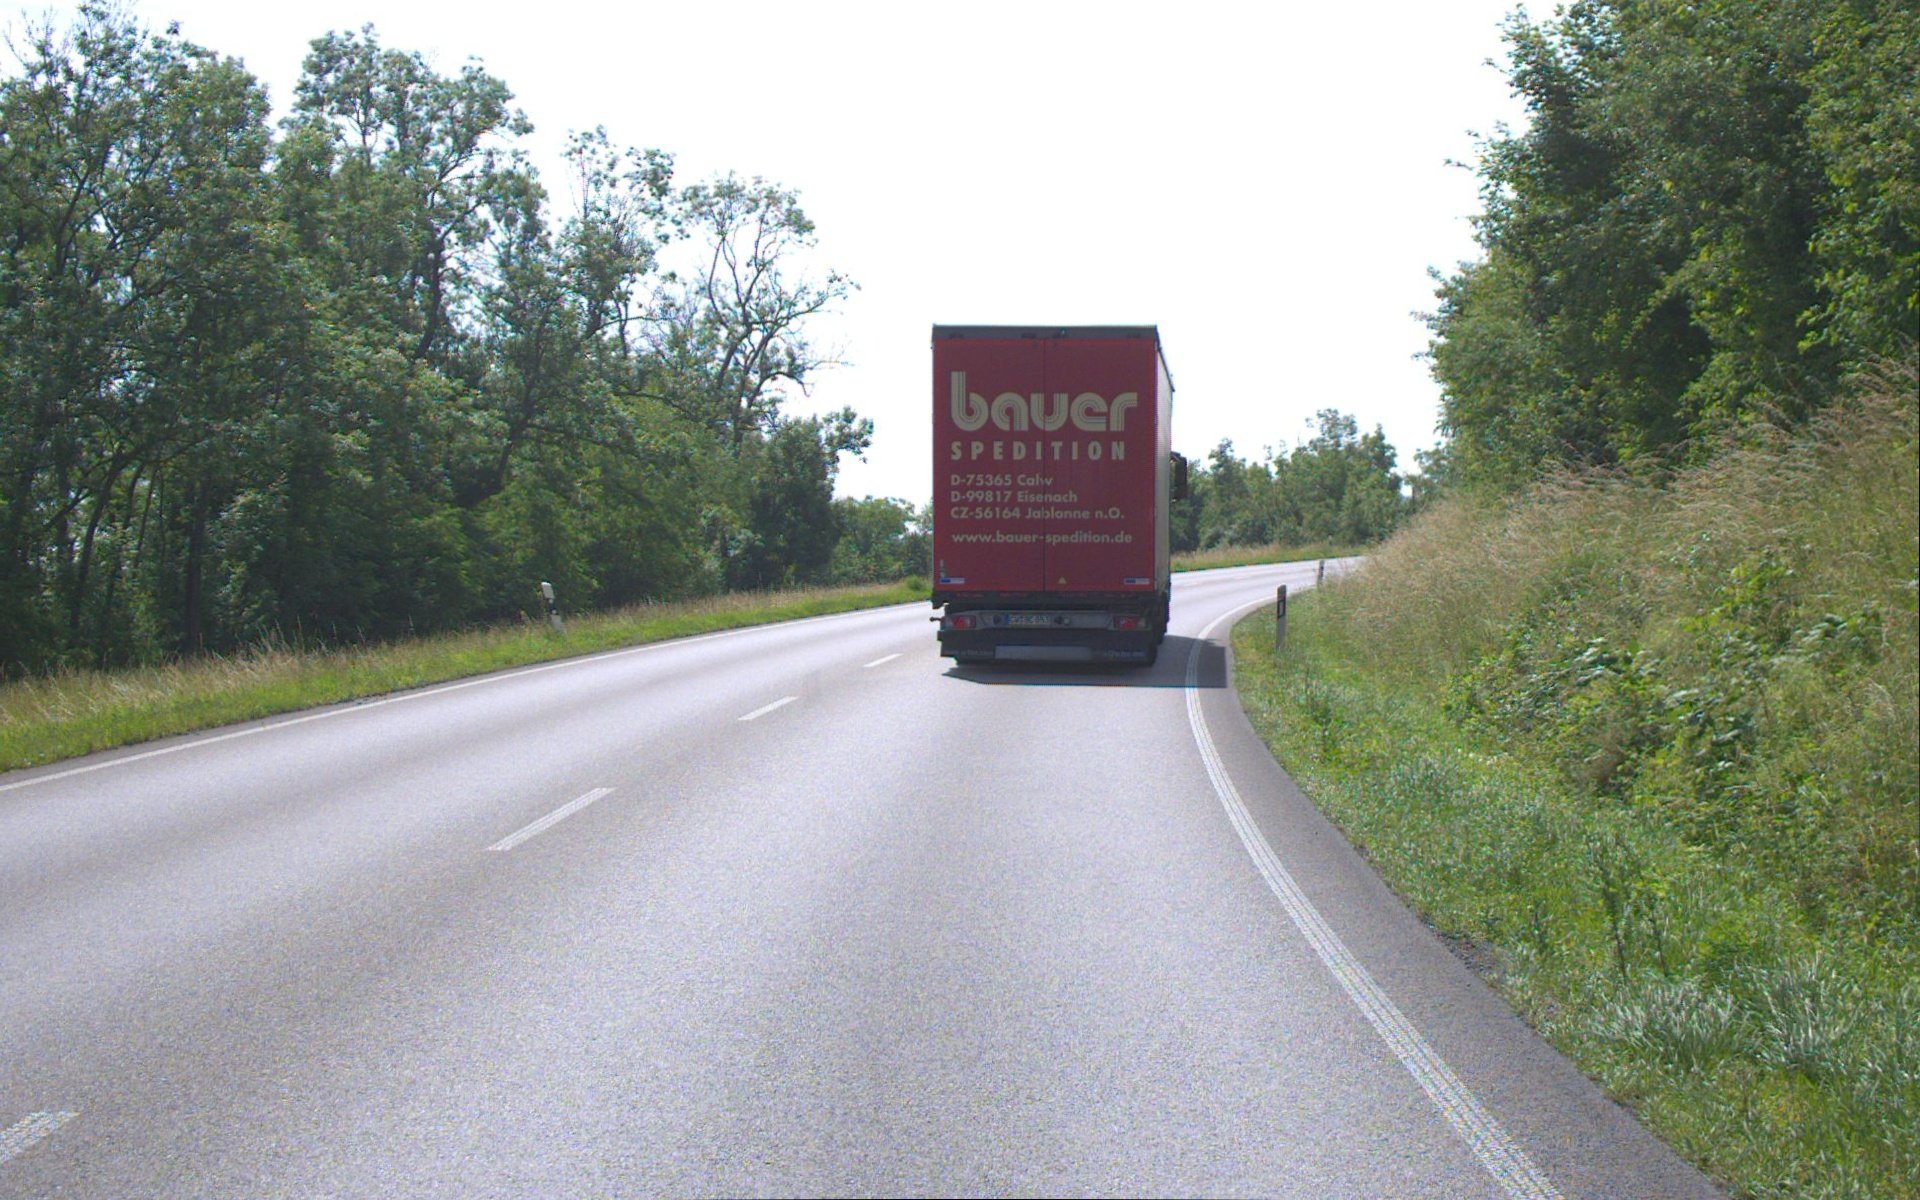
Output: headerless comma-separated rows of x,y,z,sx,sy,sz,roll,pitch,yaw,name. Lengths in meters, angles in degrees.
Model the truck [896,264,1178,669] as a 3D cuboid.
1.200,-1.592,44.339,3.112,4.490,12.166,0,1,3,truck
